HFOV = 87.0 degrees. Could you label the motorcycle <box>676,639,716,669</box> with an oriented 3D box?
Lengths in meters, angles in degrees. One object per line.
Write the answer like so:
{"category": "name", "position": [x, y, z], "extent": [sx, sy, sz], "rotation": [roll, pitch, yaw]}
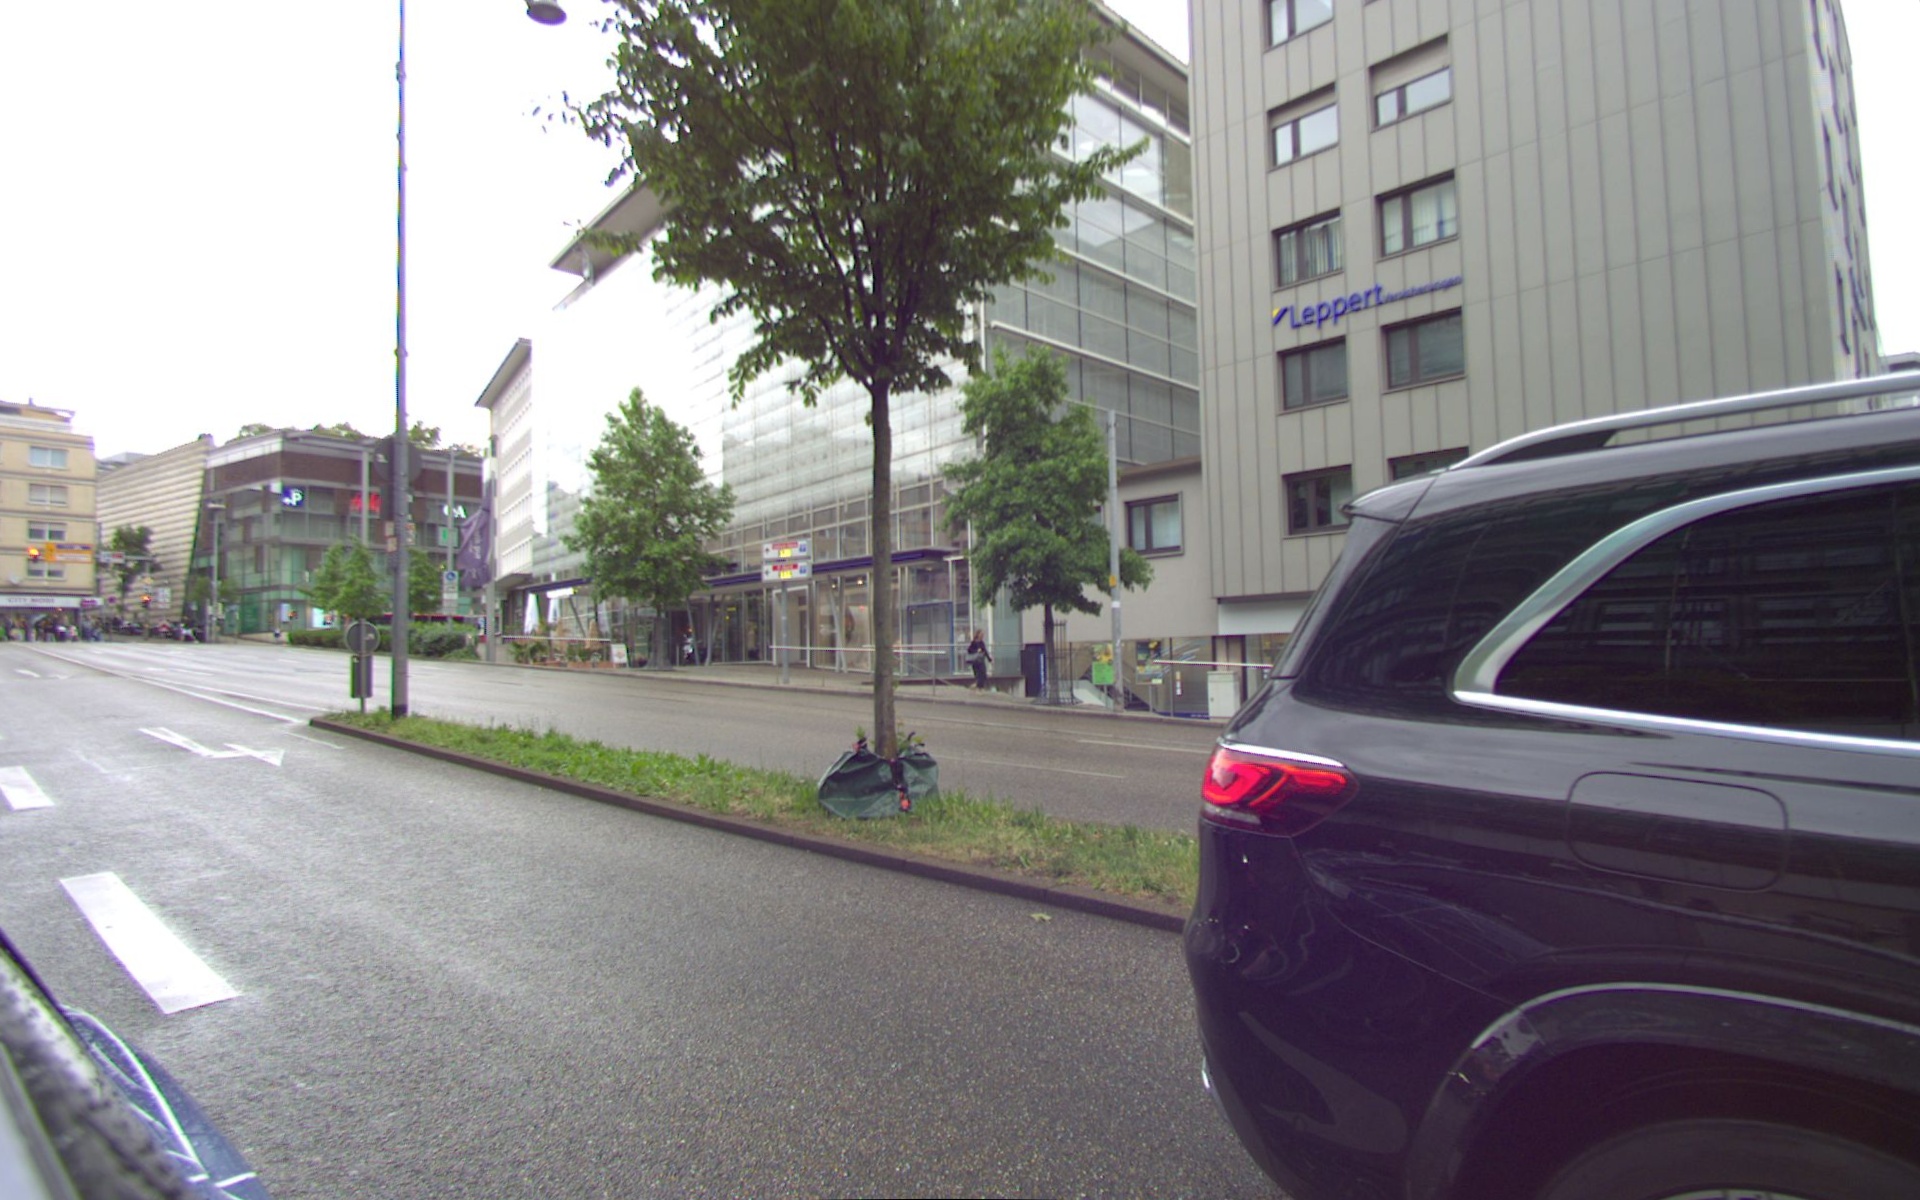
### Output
{"category": "motorcycle", "position": [-12.042, 2.455, 46.126], "extent": [0.620, 1.336, 1.685], "rotation": [-1, -3, 41]}

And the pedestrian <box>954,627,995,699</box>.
{"category": "pedestrian", "position": [0.346, 1.498, 24.309], "extent": [0.626, 1.649, 0.791], "rotation": [0, 0, -41]}

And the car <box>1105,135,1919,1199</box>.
{"category": "car", "position": [2.811, 0.388, 1.018], "extent": [5.069, 1.884, 1.892], "rotation": [0, 0, 40]}

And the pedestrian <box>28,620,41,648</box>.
{"category": "pedestrian", "position": [-59.898, 2.182, 65.485], "extent": [0.618, 1.788, 0.689], "rotation": [0, 0, -45]}
